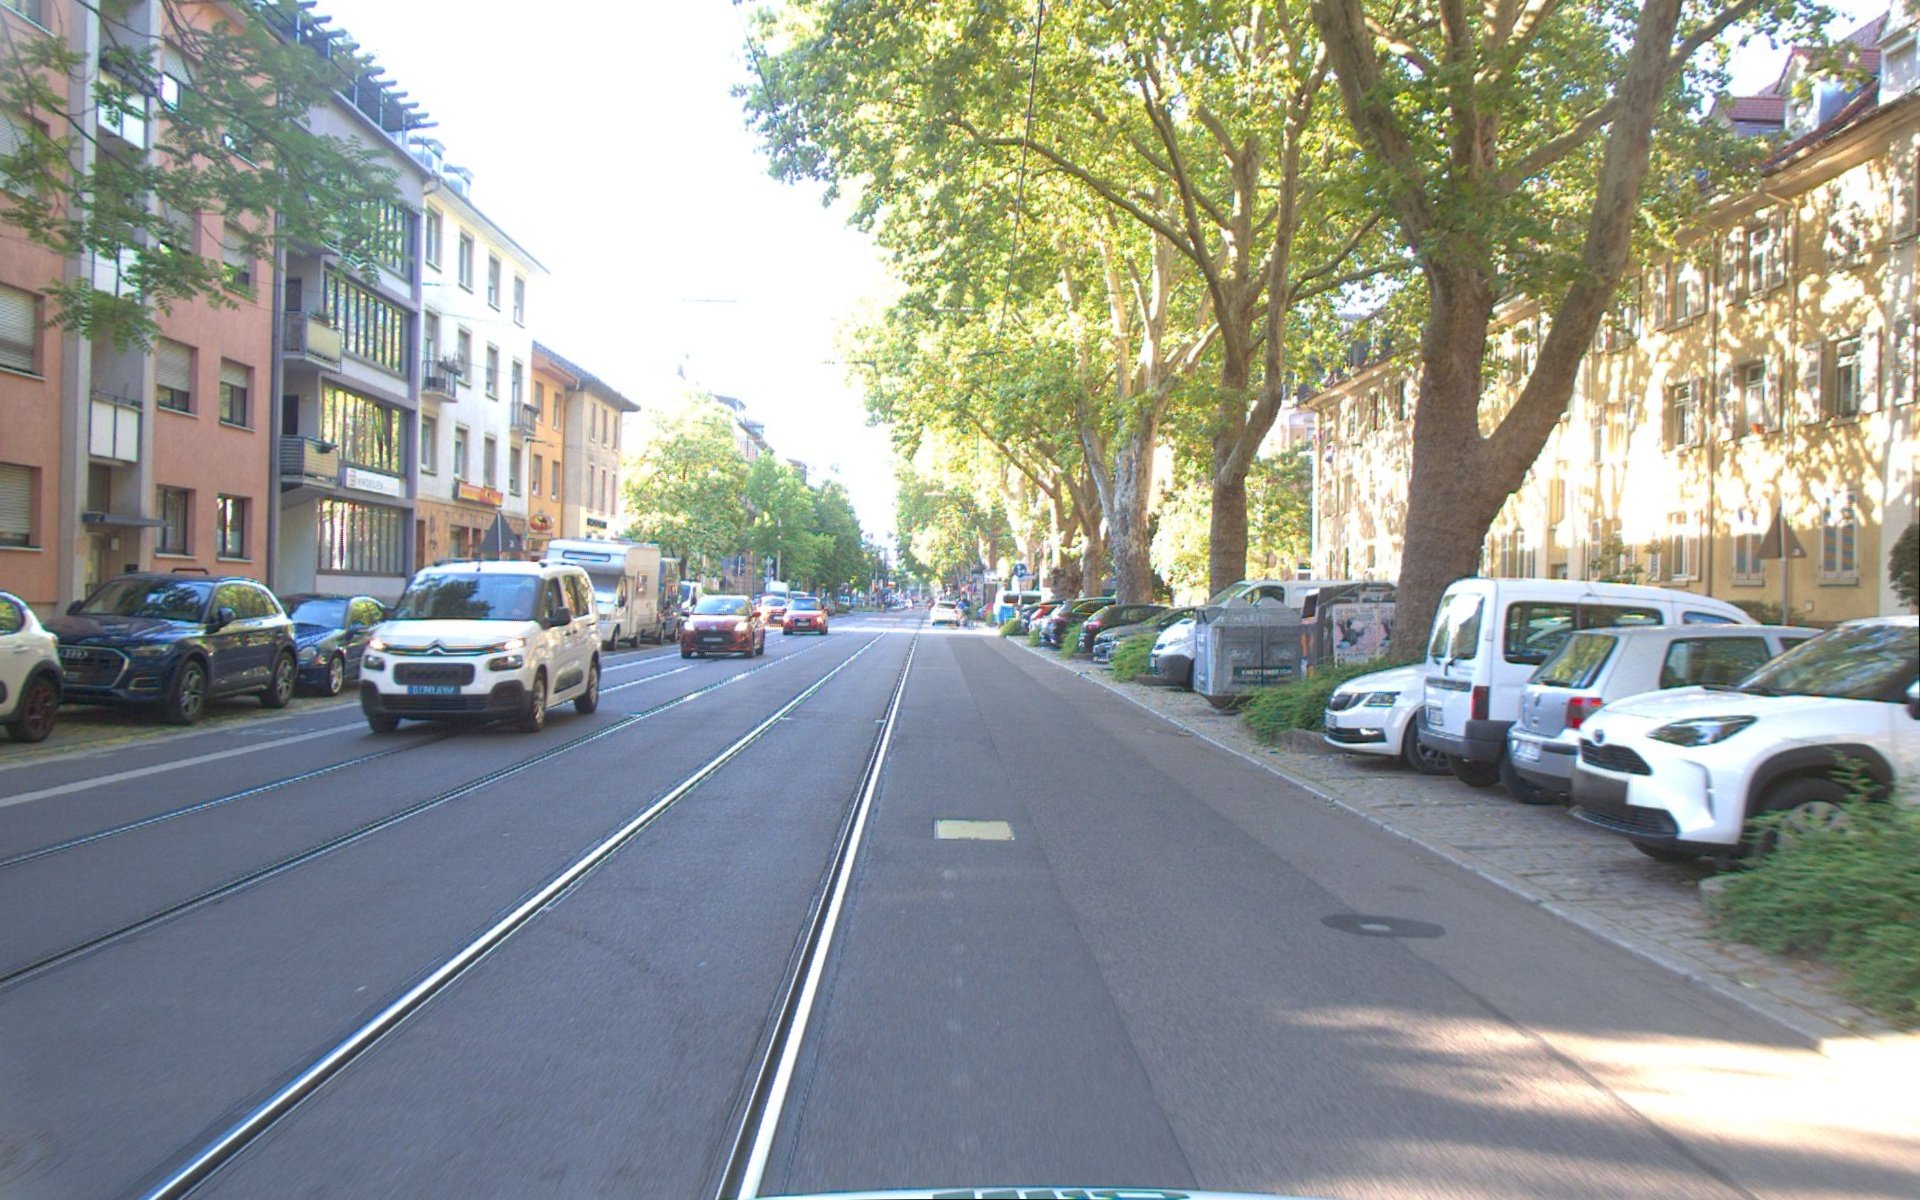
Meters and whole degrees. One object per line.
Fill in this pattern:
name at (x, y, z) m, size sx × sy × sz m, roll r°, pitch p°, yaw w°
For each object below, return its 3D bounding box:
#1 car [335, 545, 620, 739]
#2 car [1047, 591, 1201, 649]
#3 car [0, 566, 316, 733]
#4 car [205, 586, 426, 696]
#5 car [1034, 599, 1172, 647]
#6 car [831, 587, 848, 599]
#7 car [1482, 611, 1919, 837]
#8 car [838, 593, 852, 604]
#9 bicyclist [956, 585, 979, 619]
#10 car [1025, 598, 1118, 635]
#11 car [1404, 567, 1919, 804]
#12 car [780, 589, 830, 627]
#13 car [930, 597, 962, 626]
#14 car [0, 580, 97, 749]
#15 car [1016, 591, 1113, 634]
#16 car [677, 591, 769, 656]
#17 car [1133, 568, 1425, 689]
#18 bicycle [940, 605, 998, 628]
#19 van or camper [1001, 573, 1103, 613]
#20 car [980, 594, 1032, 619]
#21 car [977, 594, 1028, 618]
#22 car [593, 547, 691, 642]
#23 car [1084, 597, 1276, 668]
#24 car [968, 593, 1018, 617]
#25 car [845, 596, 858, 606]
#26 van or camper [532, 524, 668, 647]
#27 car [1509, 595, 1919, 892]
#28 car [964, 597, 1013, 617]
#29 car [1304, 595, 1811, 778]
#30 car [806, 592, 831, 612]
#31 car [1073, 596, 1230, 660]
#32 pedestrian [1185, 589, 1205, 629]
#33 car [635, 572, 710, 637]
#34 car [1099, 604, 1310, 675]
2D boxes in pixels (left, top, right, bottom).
car at (-5.230, 0.404, 18.661) m, size 1.853 × 1.864 × 4.894 m, roll 1°, pitch 0°, yaw -1°
car at (4.801, 0.573, 48.966) m, size 4.402 × 1.630 × 2.028 m, roll -1°, pitch 0°, yaw 3°
car at (-9.418, 0.502, 19.686) m, size 1.745 × 1.638 × 4.586 m, roll 4°, pitch 0°, yaw -2°
car at (-9.637, 0.553, 25.099) m, size 1.703 × 1.425 × 4.381 m, roll 3°, pitch 0°, yaw -2°
car at (4.576, 0.726, 53.443) m, size 4.209 × 1.464 × 1.947 m, roll 1°, pitch 0°, yaw -3°
car at (-14.545, -0.843, 199.760) m, size 1.880 × 1.443 × 3.719 m, roll 1°, pitch 0°, yaw -3°
car at (5.976, 0.853, 12.088) m, size 3.764 × 1.458 × 1.852 m, roll 1°, pitch 0°, yaw 3°
car at (-16.137, -0.190, 232.068) m, size 1.880 × 1.443 × 3.588 m, roll 1°, pitch 0°, yaw -4°
bicyclist at (0.400, 0.106, 86.551) m, size 1.027 × 1.735 × 1.055 m, roll 1°, pitch 0°, yaw -11°
car at (4.463, 0.640, 66.701) m, size 3.575 × 1.402 × 1.889 m, roll 1°, pitch 0°, yaw -1°
car at (5.900, 0.672, 14.055) m, size 3.764 × 1.803 × 1.917 m, roll 1°, pitch 0°, yaw 3°
car at (-6.234, 0.305, 66.843) m, size 1.688 × 1.462 × 4.068 m, roll 0°, pitch 0°, yaw -1°
car at (-0.845, 0.665, 97.644) m, size 1.879 × 1.612 × 3.790 m, roll 0°, pitch 0°, yaw -1°
car at (-9.615, 0.554, 14.599) m, size 1.769 × 1.504 × 4.089 m, roll 3°, pitch 0°, yaw 0°
car at (4.335, 0.505, 68.922) m, size 3.845 × 1.699 × 1.960 m, roll 1°, pitch 0°, yaw -3°
car at (-5.738, 0.533, 40.473) m, size 1.740 × 1.483 × 4.201 m, roll 0°, pitch 0°, yaw -1°
car at (5.626, 0.492, 29.544) m, size 4.740 × 1.997 × 2.063 m, roll 1°, pitch 0°, yaw -4°
bicycle at (0.470, 0.853, 86.572) m, size 2.895 × 1.124 × 1.049 m, roll 1°, pitch 0°, yaw -11°
van or camper at (5.137, -0.418, 92.975) m, size 5.448 × 2.048 × 2.242 m, roll 1°, pitch 3°, yaw -6°
car at (3.554, 0.477, 127.460) m, size 3.906 × 1.816 × 2.000 m, roll 1°, pitch 0°, yaw -1°
car at (3.292, 0.473, 129.737) m, size 3.906 × 1.816 × 2.000 m, roll 1°, pitch 0°, yaw -1°
car at (-10.224, -0.181, 53.575) m, size 2.045 × 2.779 × 5.308 m, roll 4°, pitch 0°, yaw -1°
car at (5.056, 0.737, 38.433) m, size 4.161 × 1.509 × 1.897 m, roll 1°, pitch 0°, yaw -2°
car at (2.643, 0.420, 132.986) m, size 3.906 × 1.816 × 2.000 m, roll 1°, pitch 0°, yaw -1°
car at (-16.645, 0.105, 254.151) m, size 1.880 × 1.443 × 3.588 m, roll 1°, pitch 0°, yaw -3°
van or camper at (-10.090, -0.399, 46.964) m, size 2.290 × 3.093 × 6.397 m, roll 4°, pitch 0°, yaw 0°
car at (5.570, 0.794, 9.766) m, size 4.006 × 1.548 × 1.915 m, roll 1°, pitch -1°, yaw -3°
car at (2.289, 0.533, 135.284) m, size 3.906 × 1.547 × 2.000 m, roll 1°, pitch 0°, yaw -1°
car at (5.656, 0.784, 16.076) m, size 4.279 × 1.569 × 1.802 m, roll 1°, pitch 1°, yaw 3°
car at (-12.980, 0.216, 151.524) m, size 1.953 × 1.775 × 4.658 m, roll 1°, pitch 0°, yaw -1°
car at (4.865, 0.696, 42.337) m, size 3.760 × 1.536 × 1.710 m, roll 1°, pitch 0°, yaw -2°
pedestrian at (10.598, 0.402, 74.482) m, size 0.745 × 1.769 × 0.821 m, roll 1°, pitch 0°, yaw -1°
car at (-10.308, 0.111, 59.631) m, size 1.914 × 2.127 × 5.246 m, roll 4°, pitch 1°, yaw -3°
car at (5.191, 0.833, 35.555) m, size 4.305 × 1.404 × 1.804 m, roll 1°, pitch 0°, yaw 3°
